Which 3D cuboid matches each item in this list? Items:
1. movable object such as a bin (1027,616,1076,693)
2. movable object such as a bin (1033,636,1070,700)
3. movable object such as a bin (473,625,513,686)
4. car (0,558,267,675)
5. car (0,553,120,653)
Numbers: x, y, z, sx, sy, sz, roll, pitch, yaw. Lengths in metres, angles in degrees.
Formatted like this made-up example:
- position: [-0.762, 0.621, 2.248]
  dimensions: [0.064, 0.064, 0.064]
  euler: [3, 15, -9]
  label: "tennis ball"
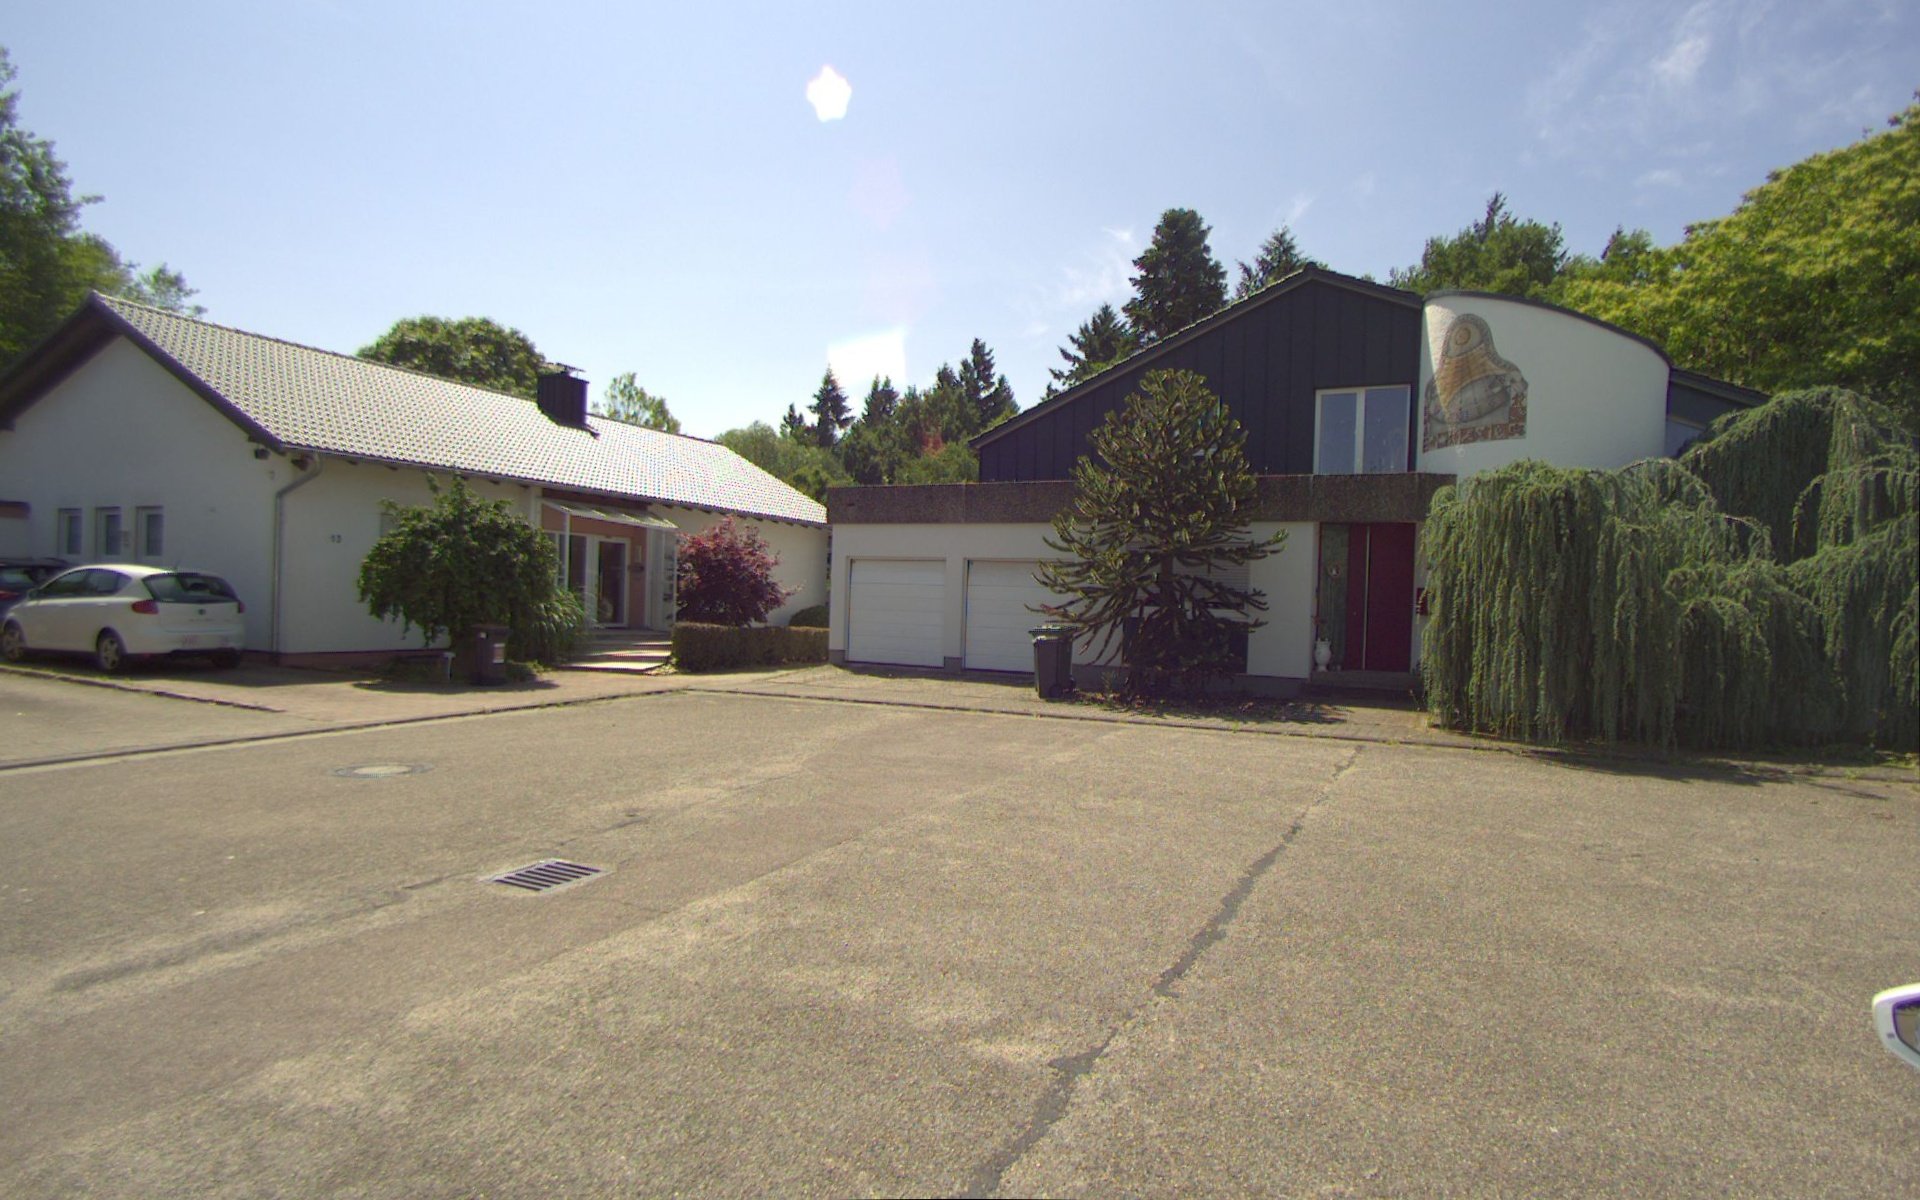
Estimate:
- position: [1.514, 0.894, 16.617]
  dimensions: [0.622, 1.219, 0.551]
  euler: [2, 0, 26]
  label: "movable object such as a bin"
- position: [1.439, 1.067, 15.835]
  dimensions: [0.513, 0.962, 0.389]
  euler: [2, 0, 0]
  label: "movable object such as a bin"
- position: [-7.100, 0.836, 15.268]
  dimensions: [0.383, 0.903, 0.375]
  euler: [2, 1, 25]
  label: "movable object such as a bin"
- position: [-13.084, 0.207, 15.783]
  dimensions: [3.923, 1.589, 1.751]
  euler: [2, 0, 23]
  label: "car"
- position: [-17.204, -0.018, 17.966]
  dimensions: [3.925, 1.629, 1.927]
  euler: [3, 1, 27]
  label: "car"
